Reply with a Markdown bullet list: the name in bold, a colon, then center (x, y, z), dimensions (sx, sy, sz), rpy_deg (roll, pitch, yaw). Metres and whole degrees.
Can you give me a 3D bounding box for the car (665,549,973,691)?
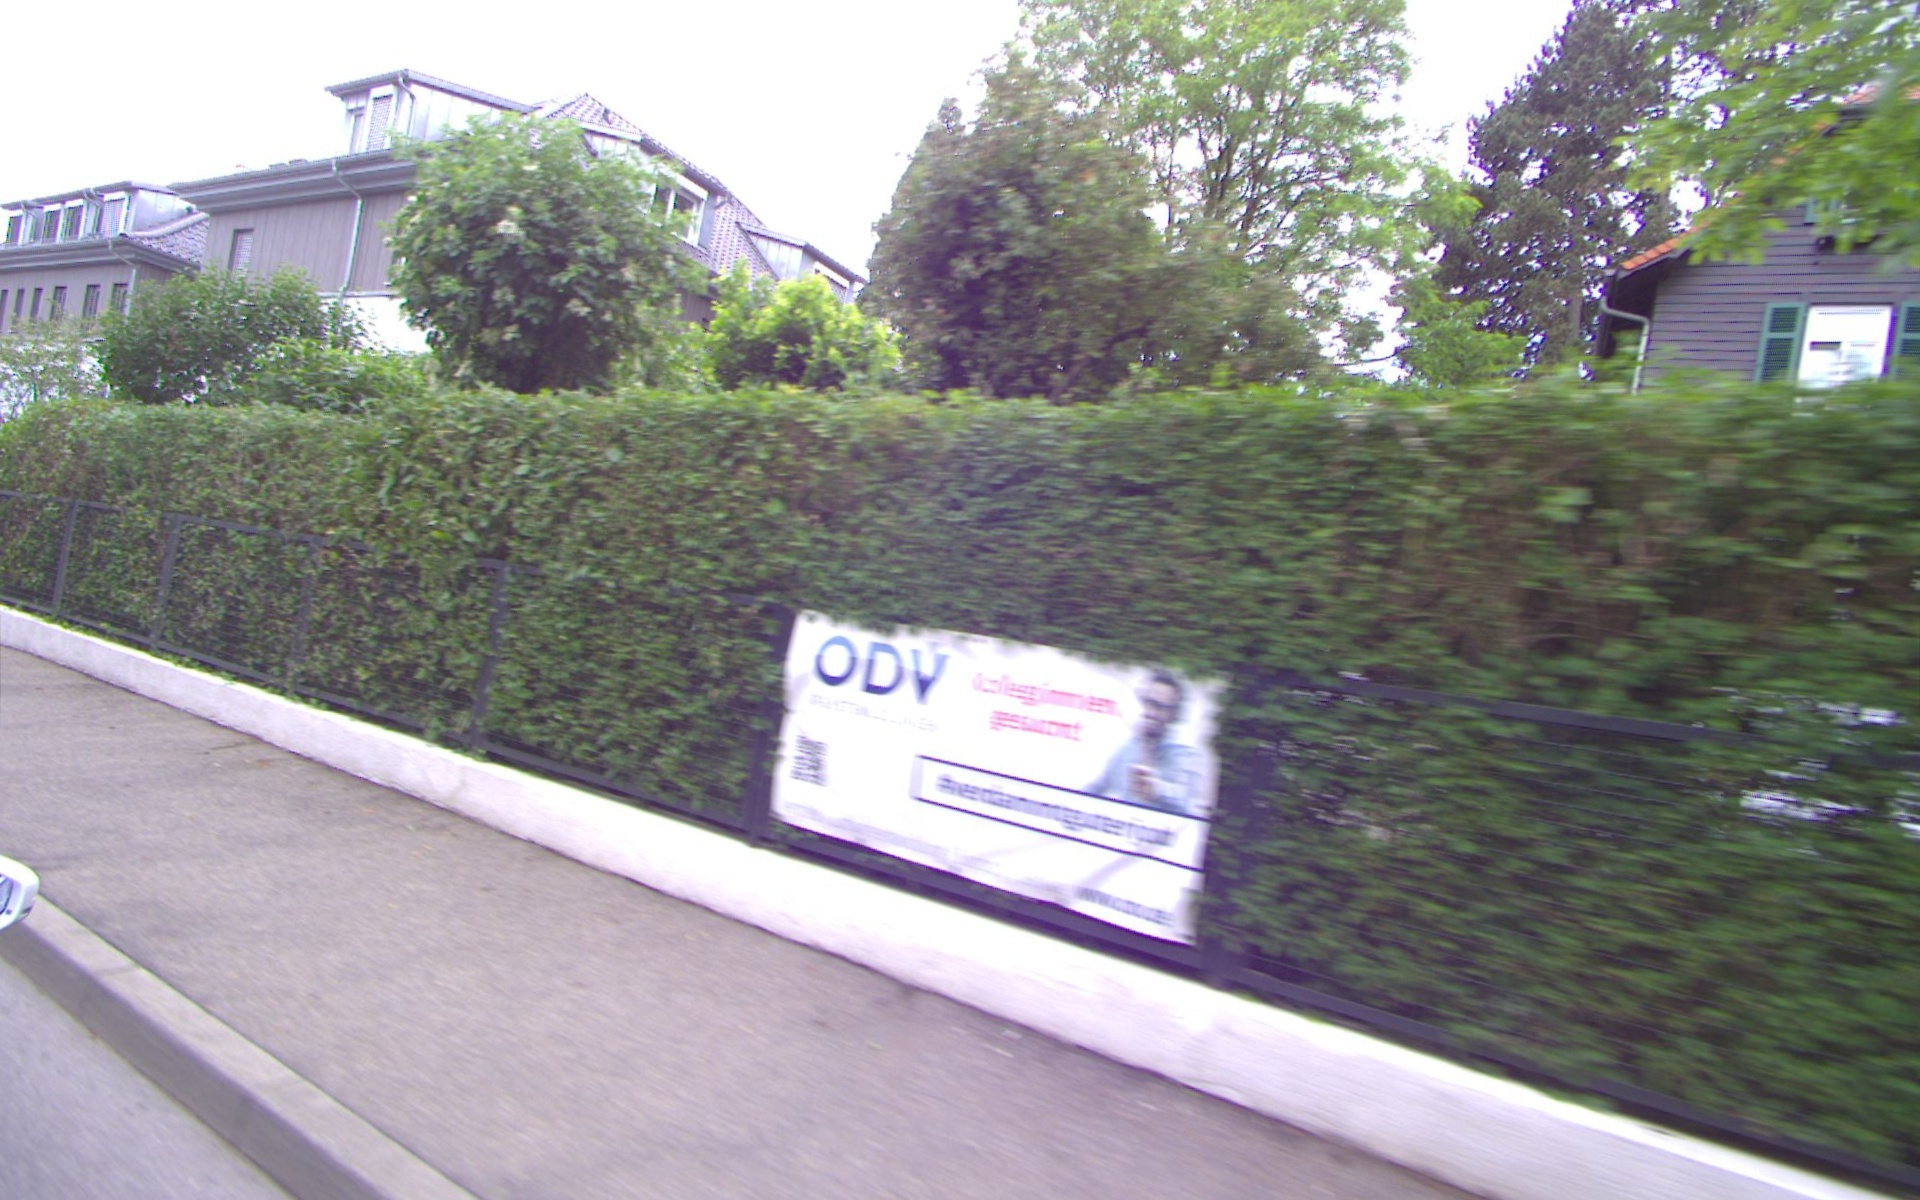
- **car**: center (-2.022, 0.333, 14.966), dimensions (3.972, 1.480, 1.979), rpy_deg (10, -2, -39)
